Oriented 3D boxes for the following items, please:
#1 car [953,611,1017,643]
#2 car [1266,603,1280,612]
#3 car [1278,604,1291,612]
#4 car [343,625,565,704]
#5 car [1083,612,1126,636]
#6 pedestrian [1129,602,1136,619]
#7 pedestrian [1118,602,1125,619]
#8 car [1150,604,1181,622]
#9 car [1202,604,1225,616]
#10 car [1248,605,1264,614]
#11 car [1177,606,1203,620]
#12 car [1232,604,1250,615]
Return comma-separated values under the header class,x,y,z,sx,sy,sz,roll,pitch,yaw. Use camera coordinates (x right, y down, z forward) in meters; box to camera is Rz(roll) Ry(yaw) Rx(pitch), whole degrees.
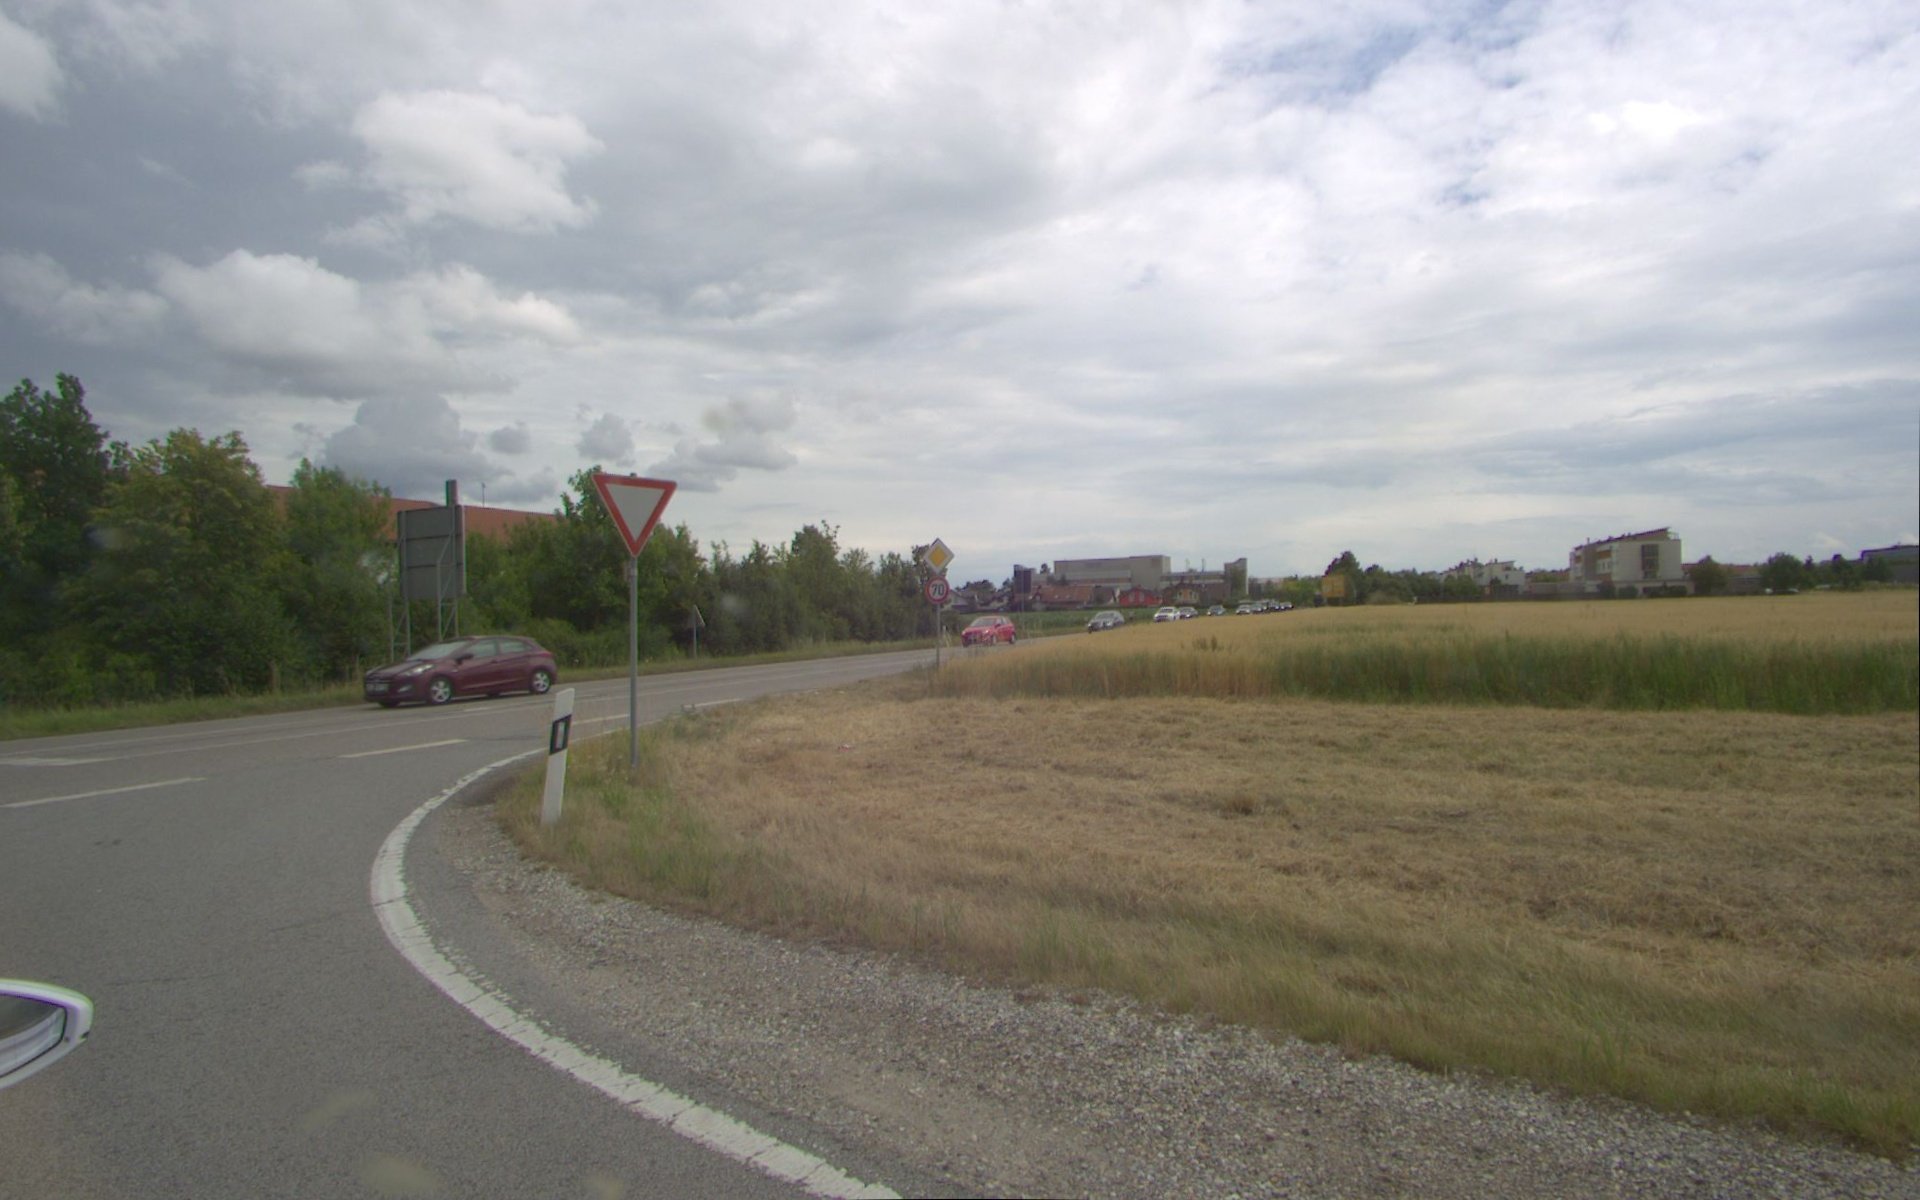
class,x,y,z,sx,sy,sz,roll,pitch,yaw
car,1.327,1.338,50.616,1.826,1.486,3.987,-1,0,24
car,49.055,1.159,156.974,1.825,1.287,3.519,-1,0,23
car,56.473,1.361,174.083,1.825,1.287,3.519,-1,0,23
car,-11.203,1.387,22.514,1.967,1.483,4.149,-2,0,23
car,9.774,1.600,67.438,1.826,1.486,3.987,-1,0,24
pedestrian,17.046,1.045,98.976,0.521,1.705,0.626,0,1,19
pedestrian,15.999,1.046,99.319,0.521,1.705,0.626,0,1,19
car,17.719,1.083,86.074,1.825,1.486,3.988,-1,0,23
car,27.715,1.095,109.365,1.825,1.287,3.519,-1,0,23
car,41.494,1.339,140.361,1.825,1.287,3.519,-1,0,23
car,22.159,1.214,96.289,1.825,1.287,3.519,-1,0,23
car,36.323,1.246,129.266,1.825,1.287,3.519,-1,0,23
